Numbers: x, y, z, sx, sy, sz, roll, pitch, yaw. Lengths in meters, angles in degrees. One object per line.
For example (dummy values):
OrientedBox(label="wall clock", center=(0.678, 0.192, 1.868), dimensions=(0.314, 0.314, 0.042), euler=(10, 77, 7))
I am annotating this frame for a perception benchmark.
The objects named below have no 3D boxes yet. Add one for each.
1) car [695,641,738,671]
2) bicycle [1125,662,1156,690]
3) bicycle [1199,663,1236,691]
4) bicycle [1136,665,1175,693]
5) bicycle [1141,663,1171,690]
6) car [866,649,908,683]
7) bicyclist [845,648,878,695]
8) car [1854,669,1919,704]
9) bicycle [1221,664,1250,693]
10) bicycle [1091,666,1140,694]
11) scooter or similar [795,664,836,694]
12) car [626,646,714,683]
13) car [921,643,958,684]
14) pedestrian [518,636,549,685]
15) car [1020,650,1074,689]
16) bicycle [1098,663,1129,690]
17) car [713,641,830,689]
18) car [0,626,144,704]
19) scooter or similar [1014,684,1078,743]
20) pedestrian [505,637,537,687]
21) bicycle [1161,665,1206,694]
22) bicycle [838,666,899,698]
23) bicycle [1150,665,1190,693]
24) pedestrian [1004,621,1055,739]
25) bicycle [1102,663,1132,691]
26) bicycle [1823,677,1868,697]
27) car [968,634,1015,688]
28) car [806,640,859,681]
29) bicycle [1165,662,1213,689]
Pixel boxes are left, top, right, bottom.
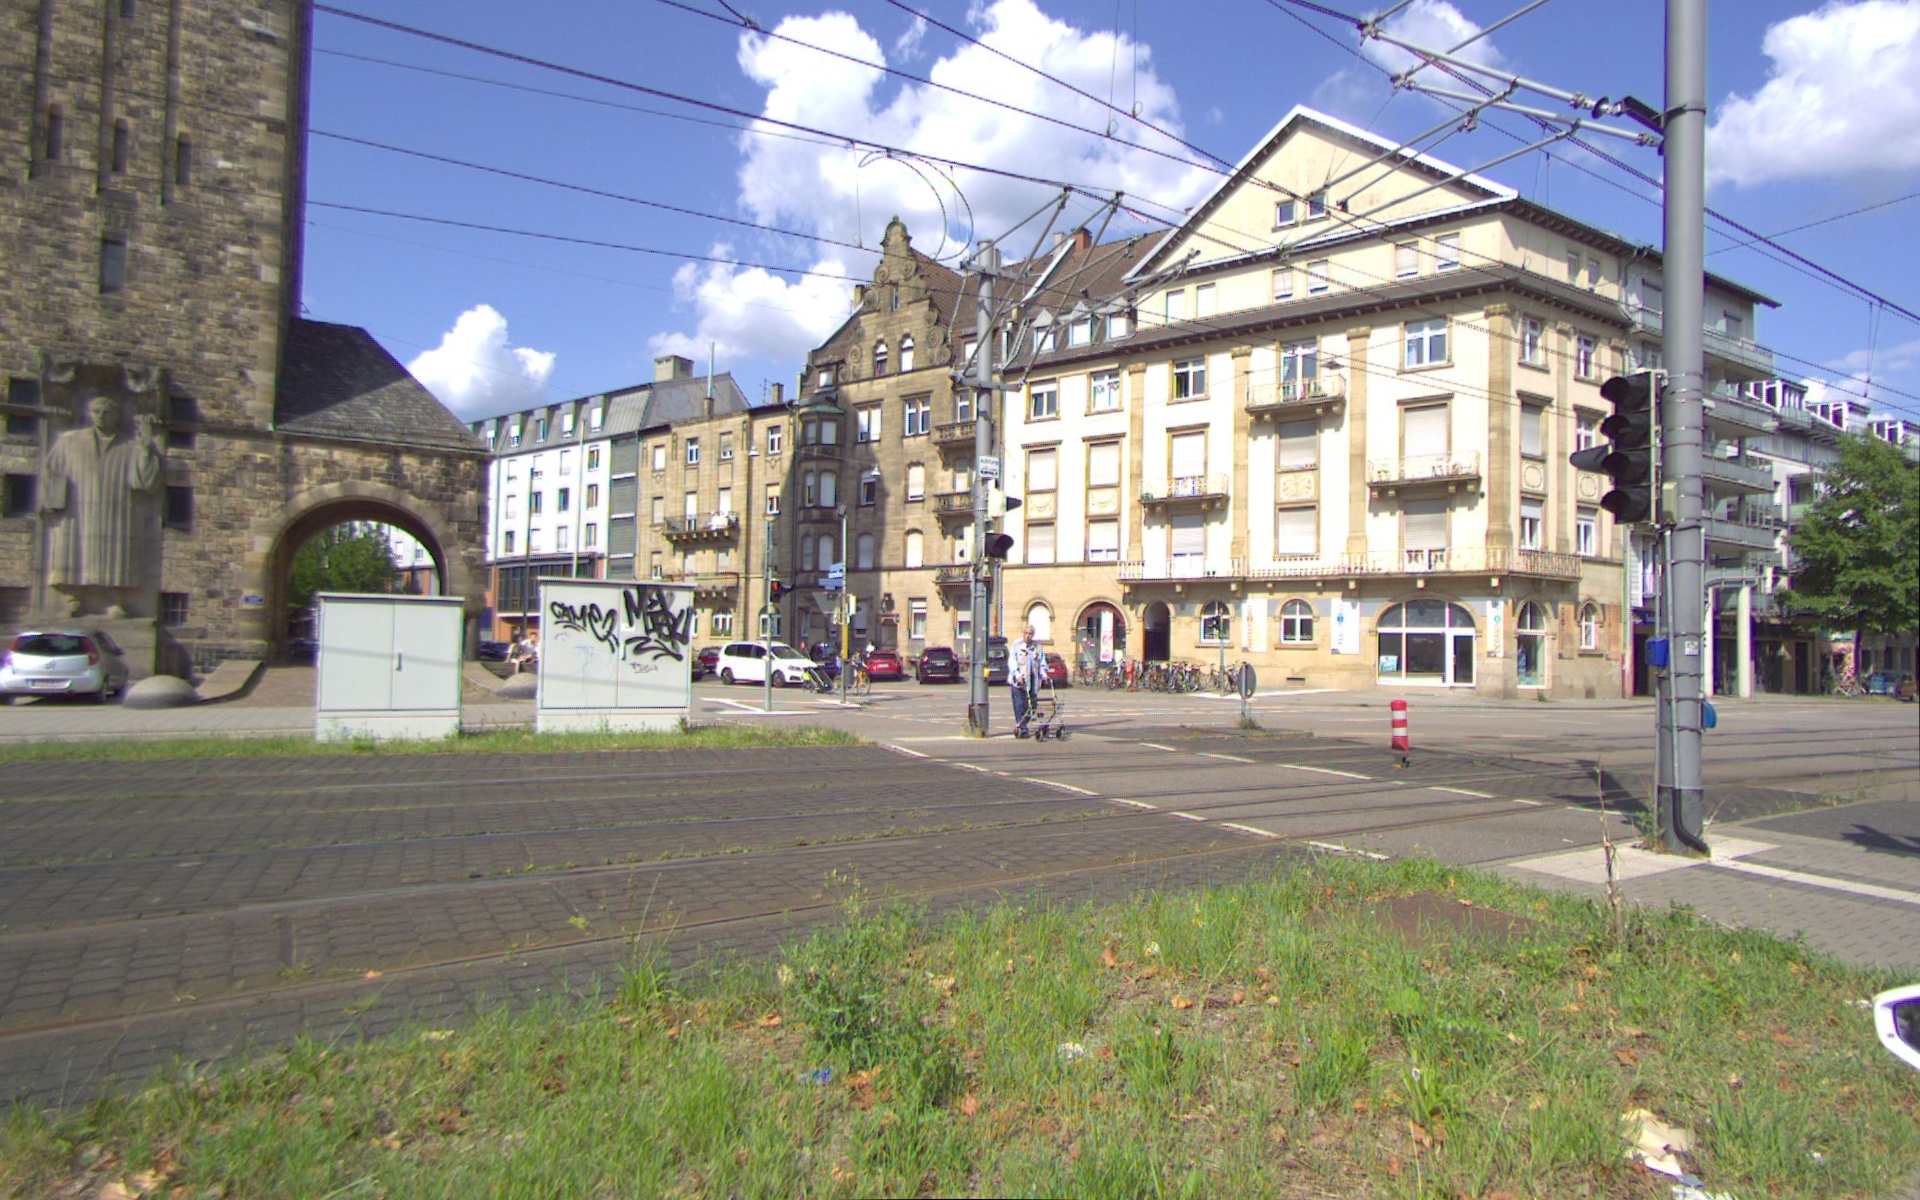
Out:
OrientedBox(label="car", center=(-13.571, 3.106, 56.141), dimensions=(1.575, 1.475, 3.775), euler=(0, -1, -1))
OrientedBox(label="bicycle", center=(7.641, 3.202, 42.468), dimensions=(0.531, 1.032, 1.923), euler=(-1, -1, 34))
OrientedBox(label="bicycle", center=(10.364, 3.089, 40.425), dimensions=(0.601, 1.032, 1.866), euler=(-1, -1, 44))
OrientedBox(label="bicycle", center=(7.945, 3.196, 40.760), dimensions=(1.914, 1.032, 0.534), euler=(0, -1, -41))
OrientedBox(label="bicycle", center=(8.210, 3.190, 42.096), dimensions=(0.531, 1.032, 1.923), euler=(-1, -1, 34))
OrientedBox(label="car", center=(-3.612, 3.186, 49.206), dimensions=(1.881, 1.463, 3.996), euler=(0, -1, -6))
OrientedBox(label="bicyclist", center=(-3.380, 2.452, 34.532), dimensions=(0.906, 1.524, 0.651), euler=(0, 2, 32))
OrientedBox(label="car", center=(52.287, 4.856, 56.520), dimensions=(3.955, 1.813, 1.837), euler=(3, -1, -31))
OrientedBox(label="bicycle", center=(10.951, 3.123, 39.914), dimensions=(0.599, 1.032, 1.872), euler=(0, -1, 32))
OrientedBox(label="bicycle", center=(6.223, 3.199, 40.183), dimensions=(1.890, 1.032, 0.540), euler=(-1, -1, 19))
OrientedBox(label="scooter or similar", center=(-5.047, 2.762, 35.100), dimensions=(1.111, 0.989, 0.889), euler=(0, -3, 31))
OrientedBox(label="car", center=(-12.483, 2.769, 43.248), dimensions=(3.674, 1.469, 1.670), euler=(-1, -3, 35))
OrientedBox(label="car", center=(-0.950, 2.941, 47.121), dimensions=(1.677, 1.690, 4.000), euler=(0, -1, -1))
OrientedBox(label="pedestrian", center=(-13.067, 1.833, 30.746), dimensions=(0.507, 1.425, 0.559), euler=(7, 1, 14))
OrientedBox(label="car", center=(3.715, 2.993, 43.631), dimensions=(1.929, 1.460, 4.000), euler=(0, -1, -1))
OrientedBox(label="bicycle", center=(6.551, 3.245, 42.872), dimensions=(0.531, 1.032, 1.923), euler=(-1, -1, 34))
OrientedBox(label="car", center=(-7.507, 2.542, 39.813), dimensions=(4.586, 1.762, 1.810), euler=(-1, -3, 35))
OrientedBox(label="car", center=(-19.467, 1.398, 22.071), dimensions=(1.777, 1.567, 3.748), euler=(3, -3, -31))
OrientedBox(label="scooter or similar", center=(1.272, 1.666, 14.893), dimensions=(0.548, 0.814, 0.833), euler=(3, -3, -34))
OrientedBox(label="pedestrian", center=(-13.200, 1.854, 30.189), dimensions=(0.507, 1.425, 0.559), euler=(7, 1, 14))
OrientedBox(label="bicycle", center=(8.865, 3.144, 39.819), dimensions=(1.854, 1.032, 0.598), euler=(1, -1, -29))
OrientedBox(label="bicycle", center=(-3.132, 2.790, 34.322), dimensions=(2.097, 1.002, 0.651), euler=(0, -3, 31))
OrientedBox(label="bicycle", center=(8.476, 3.161, 40.495), dimensions=(1.914, 1.032, 0.534), euler=(1, -1, -41))
OrientedBox(label="pedestrian", center=(1.055, 1.204, 15.264), dimensions=(0.552, 1.755, 0.523), euler=(3, -3, -35))
OrientedBox(label="bicycle", center=(6.547, 3.192, 41.786), dimensions=(0.531, 1.032, 1.924), euler=(-1, -1, 31))
OrientedBox(label="bicycle", center=(46.151, 4.535, 52.353), dimensions=(0.492, 0.999, 1.680), euler=(3, -3, -32))
OrientedBox(label="car", center=(1.387, 2.712, 45.673), dimensions=(1.929, 2.111, 3.999), euler=(0, 2, -1))
OrientedBox(label="car", center=(-6.468, 3.040, 51.178), dimensions=(1.878, 1.849, 4.002), euler=(0, -1, 5))
OrientedBox(label="bicycle", center=(9.529, 3.141, 41.793), dimensions=(1.899, 1.032, 0.538), euler=(-1, -1, 39))
